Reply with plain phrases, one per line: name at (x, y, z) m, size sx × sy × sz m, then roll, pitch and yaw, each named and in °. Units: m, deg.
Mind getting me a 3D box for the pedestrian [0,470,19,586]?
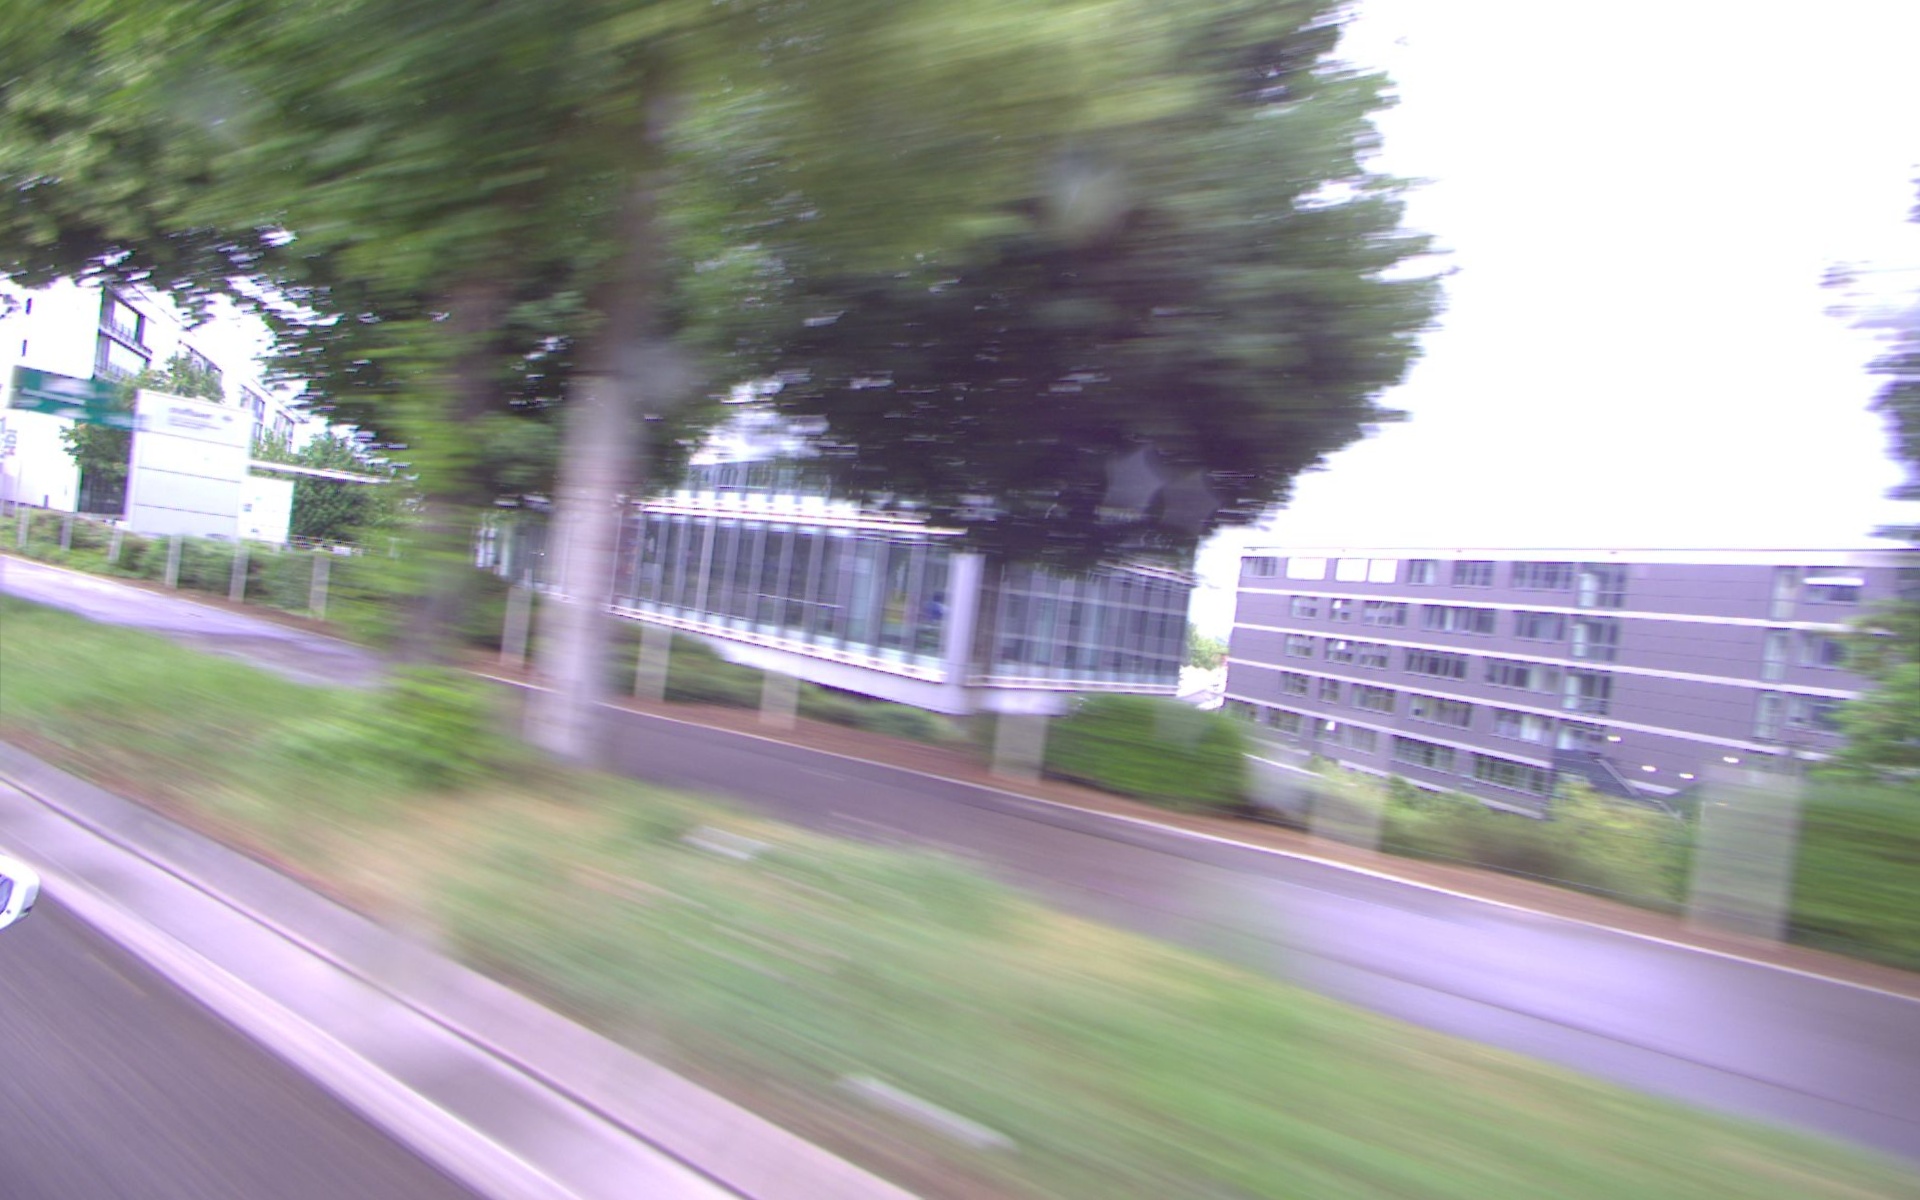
pedestrian at (-15.598, -1.200, 15.811) m, size 0.853 × 1.818 × 0.827 m, roll 7°, pitch -1°, yaw 32°
